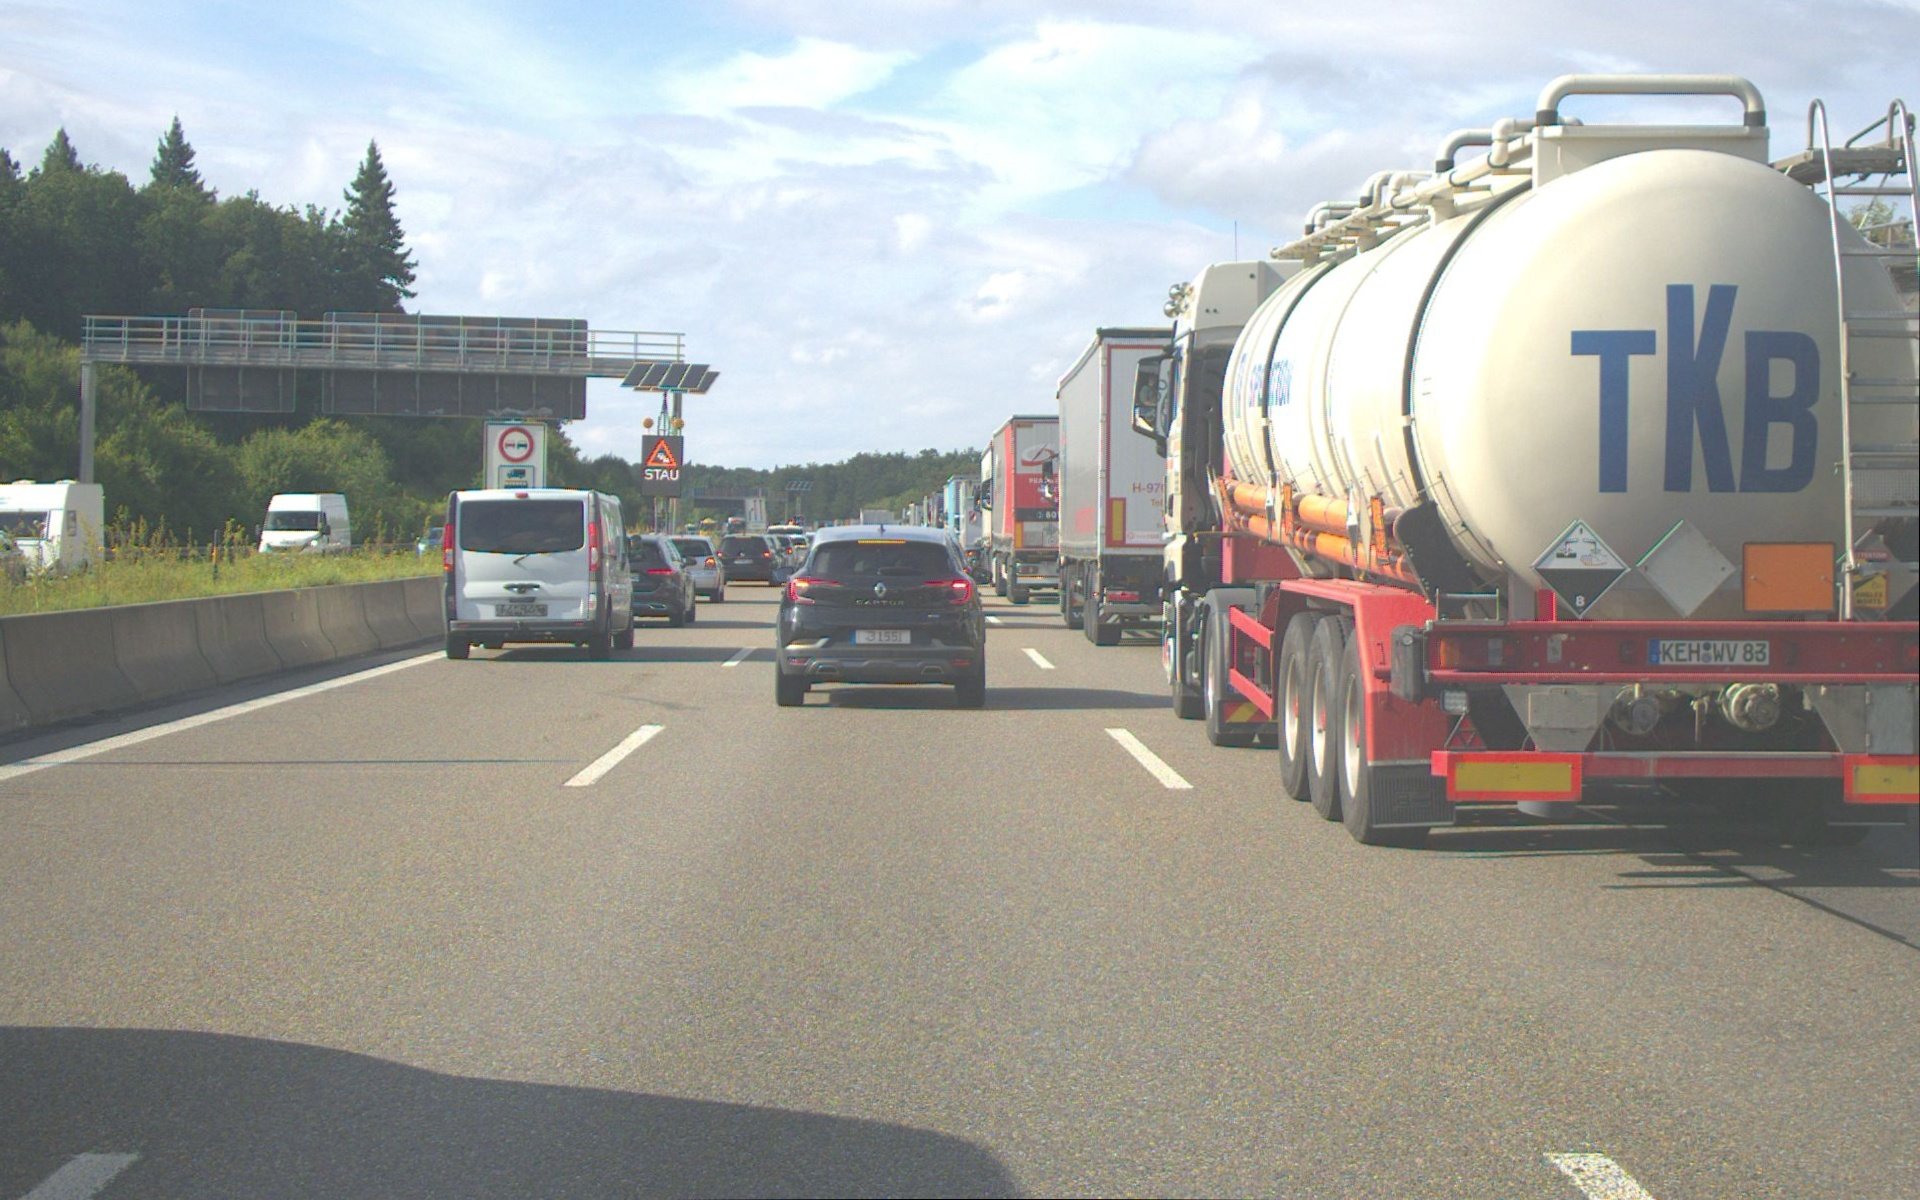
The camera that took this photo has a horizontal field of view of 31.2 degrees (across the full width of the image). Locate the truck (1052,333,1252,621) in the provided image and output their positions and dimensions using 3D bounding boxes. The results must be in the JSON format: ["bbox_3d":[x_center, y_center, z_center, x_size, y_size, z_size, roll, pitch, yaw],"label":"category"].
[{"bbox_3d":[2.921,-1.862,54.021,2.786,4.232,6.460,0,1,0],"label":"truck"}]

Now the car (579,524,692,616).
[{"bbox_3d":[-5.063,-0.488,53.957,1.500,1.391,3.476,0,1,-1],"label":"car"}]

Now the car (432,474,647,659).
[{"bbox_3d":[-4.975,-0.414,41.327,1.933,1.972,5.099,3,1,-1],"label":"car"}]

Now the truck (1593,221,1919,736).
[{"bbox_3d":[6.948,-0.899,27.258,2.529,3.561,6.776,0,1,-1],"label":"truck"}]

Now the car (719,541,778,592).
[{"bbox_3d":[-5.905,-0.950,96.114,1.434,1.305,3.534,3,1,-1],"label":"car"}]

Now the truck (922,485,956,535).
[{"bbox_3d":[-1.332,-5.807,221.709,1.993,3.042,4.982,3,1,0],"label":"truck"}]

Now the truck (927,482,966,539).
[{"bbox_3d":[-0.759,-5.040,194.956,1.993,3.042,4.982,3,1,0],"label":"truck"}]

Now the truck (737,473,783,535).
[{"bbox_3d":[-12.186,-5.824,209.952,2.344,3.582,6.306,3,1,-1],"label":"truck"}]

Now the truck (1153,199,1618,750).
[{"bbox_3d":[2.955,-0.867,25.701,2.533,3.571,6.730,0,1,-1],"label":"truck"}]

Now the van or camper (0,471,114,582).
[{"bbox_3d":[-20.952,-1.648,77.545,2.459,2.405,5.853,0,1,-2],"label":"van or camper"}]

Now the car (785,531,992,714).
[{"bbox_3d":[-0.631,0.144,30.550,1.696,1.478,4.160,1,1,-1],"label":"car"}]

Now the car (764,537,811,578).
[{"bbox_3d":[-5.842,-1.442,116.462,1.434,1.305,3.534,3,1,-1],"label":"car"}]

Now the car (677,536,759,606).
[{"bbox_3d":[-5.189,-0.644,74.021,1.500,1.391,3.476,3,1,-1],"label":"car"}]

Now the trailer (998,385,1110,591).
[{"bbox_3d":[2.003,-2.389,75.529,2.150,4.244,8.440,0,1,0],"label":"trailer"}]

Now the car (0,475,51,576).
[{"bbox_3d":[-20.789,-1.562,72.041,2.239,2.050,5.083,0,1,-2],"label":"car"}]

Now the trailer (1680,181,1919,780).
[{"bbox_3d":[7.012,-0.737,21.827,2.541,3.586,10.627,0,1,-1],"label":"trailer"}]

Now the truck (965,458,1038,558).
[{"bbox_3d":[1.264,-2.813,106.240,1.993,2.922,4.982,3,1,0],"label":"truck"}]

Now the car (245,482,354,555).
[{"bbox_3d":[-21.543,-2.648,112.405,2.315,2.185,6.864,3,1,-2],"label":"car"}]

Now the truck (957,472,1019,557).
[{"bbox_3d":[0.998,-3.064,124.544,1.993,2.922,4.982,3,1,0],"label":"truck"}]

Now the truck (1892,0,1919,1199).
[{"bbox_3d":[3.306,-0.631,3.876,2.708,4.046,6.362,0,1,-1],"label":"truck"}]

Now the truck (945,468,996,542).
[{"bbox_3d":[0.432,-4.095,149.637,1.993,3.042,4.982,3,1,0],"label":"truck"}]

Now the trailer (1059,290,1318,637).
[{"bbox_3d":[2.956,-1.746,47.567,2.802,4.229,11.057,0,1,0],"label":"trailer"}]

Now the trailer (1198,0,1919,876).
[{"bbox_3d":[3.038,-0.773,19.376,2.541,3.641,10.627,0,1,-1],"label":"trailer"}]

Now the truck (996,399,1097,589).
[{"bbox_3d":[1.984,-2.443,80.681,2.134,4.267,6.339,1,1,0],"label":"truck"}]
